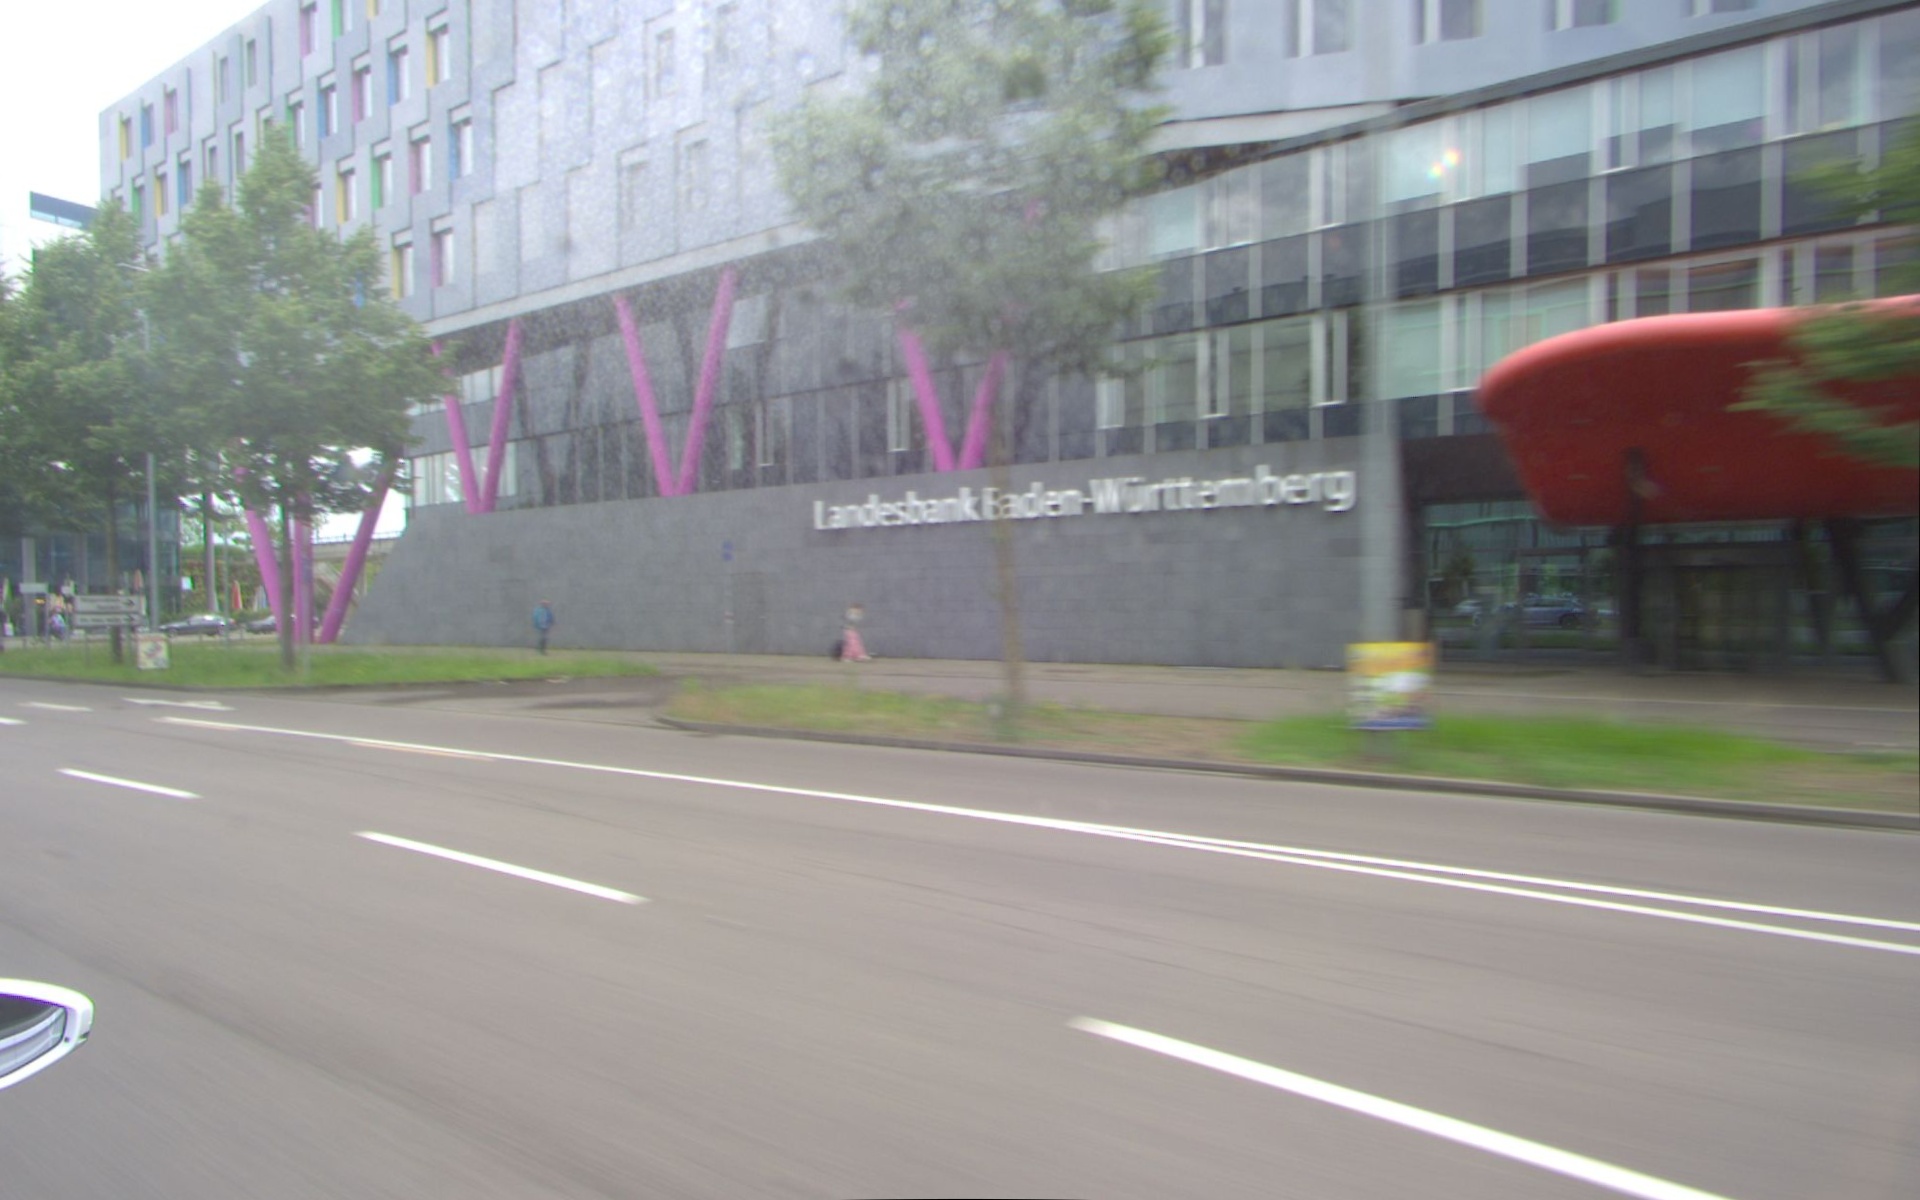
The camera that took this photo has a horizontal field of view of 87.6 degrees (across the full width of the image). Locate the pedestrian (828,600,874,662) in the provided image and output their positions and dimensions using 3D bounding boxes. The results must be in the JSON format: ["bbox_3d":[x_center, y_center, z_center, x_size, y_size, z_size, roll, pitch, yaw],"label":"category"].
[{"bbox_3d":[-2.860,0.795,26.298,0.901,1.604,0.782,1,2,33],"label":"pedestrian"}]

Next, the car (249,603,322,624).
[{"bbox_3d":[-48.734,0.970,72.434,1.733,1.474,4.070,0,0,33],"label":"car"}]

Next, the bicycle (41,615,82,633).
[{"bbox_3d":[-56.411,1.495,62.892,0.609,1.100,1.787,1,1,33],"label":"bicycle"}]

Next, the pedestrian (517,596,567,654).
[{"bbox_3d":[-13.373,0.788,32.056,1.120,1.794,1.049,1,1,33],"label":"pedestrian"}]

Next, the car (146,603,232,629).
[{"bbox_3d":[-51.642,1.062,67.147,1.733,1.636,4.240,0,0,33],"label":"car"}]

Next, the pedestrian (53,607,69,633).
[{"bbox_3d":[-56.424,1.228,62.868,0.610,1.626,0.613,1,1,34],"label":"pedestrian"}]
